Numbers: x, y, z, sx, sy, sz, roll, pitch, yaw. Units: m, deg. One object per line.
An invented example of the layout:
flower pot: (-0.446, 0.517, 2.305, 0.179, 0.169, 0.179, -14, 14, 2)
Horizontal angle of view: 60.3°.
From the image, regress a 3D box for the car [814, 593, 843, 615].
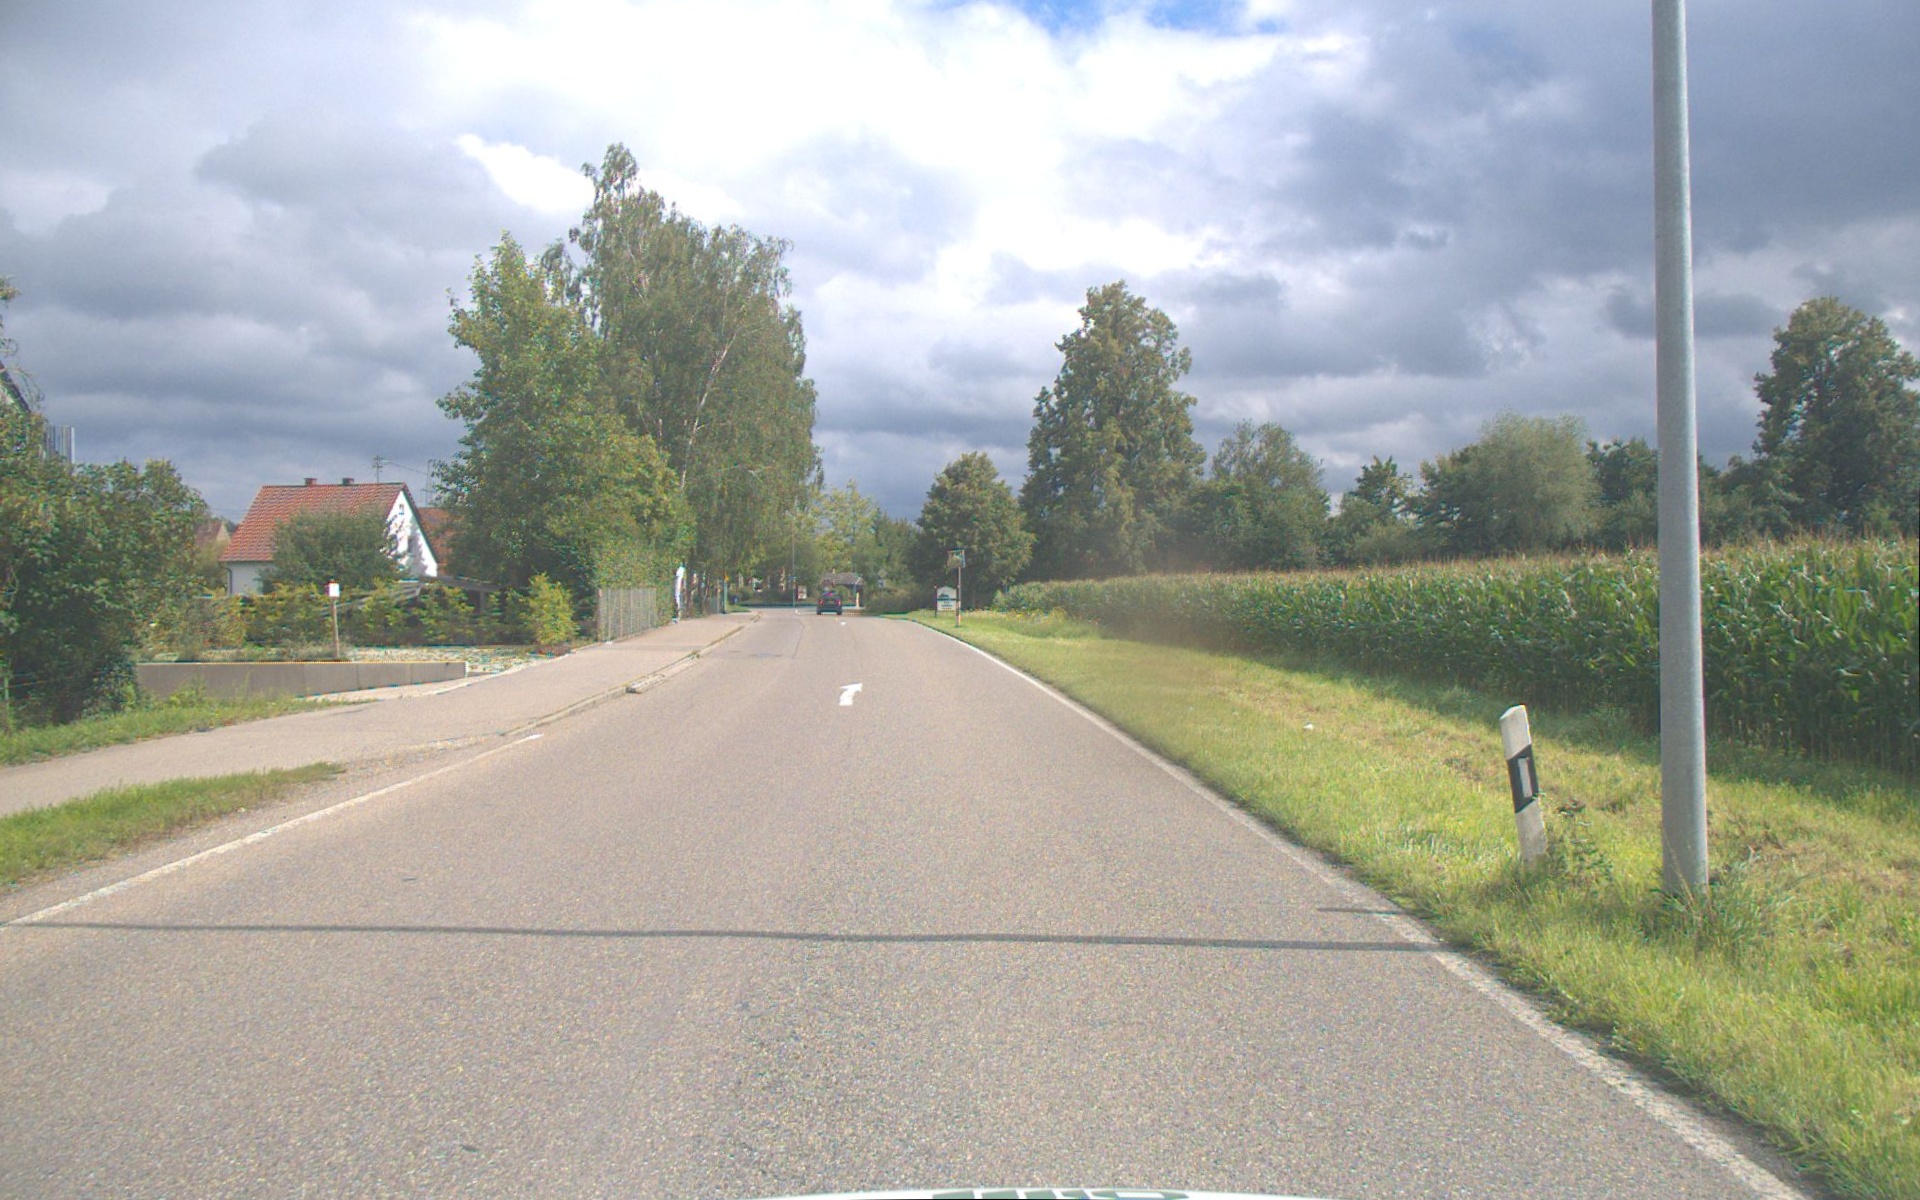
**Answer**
car: (-10.192, 0.312, 127.964, 1.956, 1.612, 3.993, 0, 0, -8)
